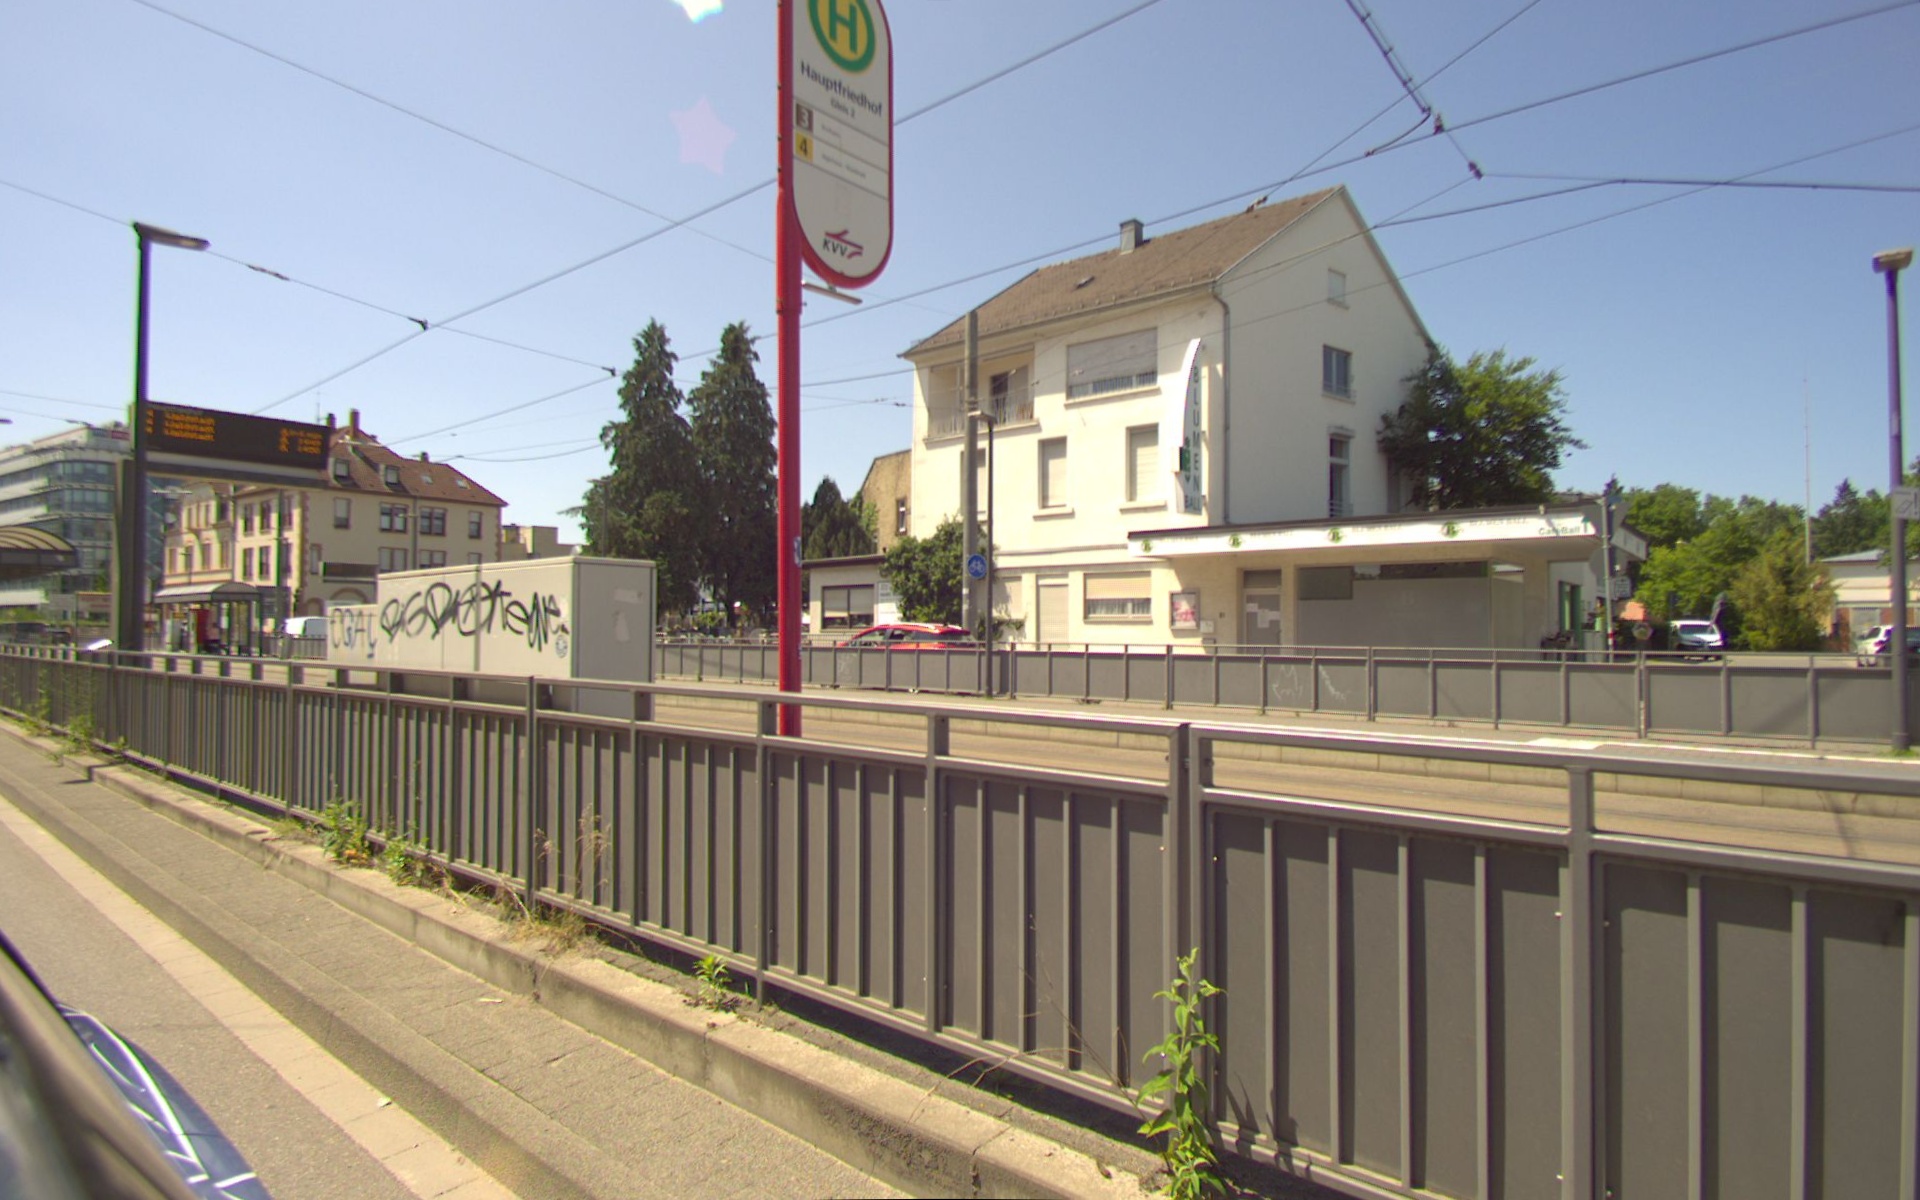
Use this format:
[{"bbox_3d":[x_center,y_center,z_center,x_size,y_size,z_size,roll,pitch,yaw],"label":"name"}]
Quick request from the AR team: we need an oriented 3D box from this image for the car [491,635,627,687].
[{"bbox_3d":[-12.400,1.840,31.180,4.617,1.479,1.800,-1,-3,38],"label":"car"}]

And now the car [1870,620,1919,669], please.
[{"bbox_3d":[29.612,1.408,31.607,1.644,1.457,3.761,-2,-3,41],"label":"car"}]

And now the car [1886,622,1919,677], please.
[{"bbox_3d":[25.575,1.320,26.674,1.644,1.381,3.760,-2,-3,42],"label":"car"}]

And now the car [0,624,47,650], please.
[{"bbox_3d":[-69.021,2.683,74.438,3.991,1.852,1.976,-1,-2,35],"label":"car"}]

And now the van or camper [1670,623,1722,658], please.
[{"bbox_3d":[34.700,1.898,47.778,1.686,1.578,3.784,-1,-2,32],"label":"van or camper"}]

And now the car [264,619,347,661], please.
[{"bbox_3d":[-29.962,1.825,46.259,4.694,1.830,1.837,-1,-3,40],"label":"car"}]

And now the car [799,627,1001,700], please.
[{"bbox_3d":[-1.331,1.294,21.446,4.170,1.406,1.800,-1,-3,39],"label":"car"}]
